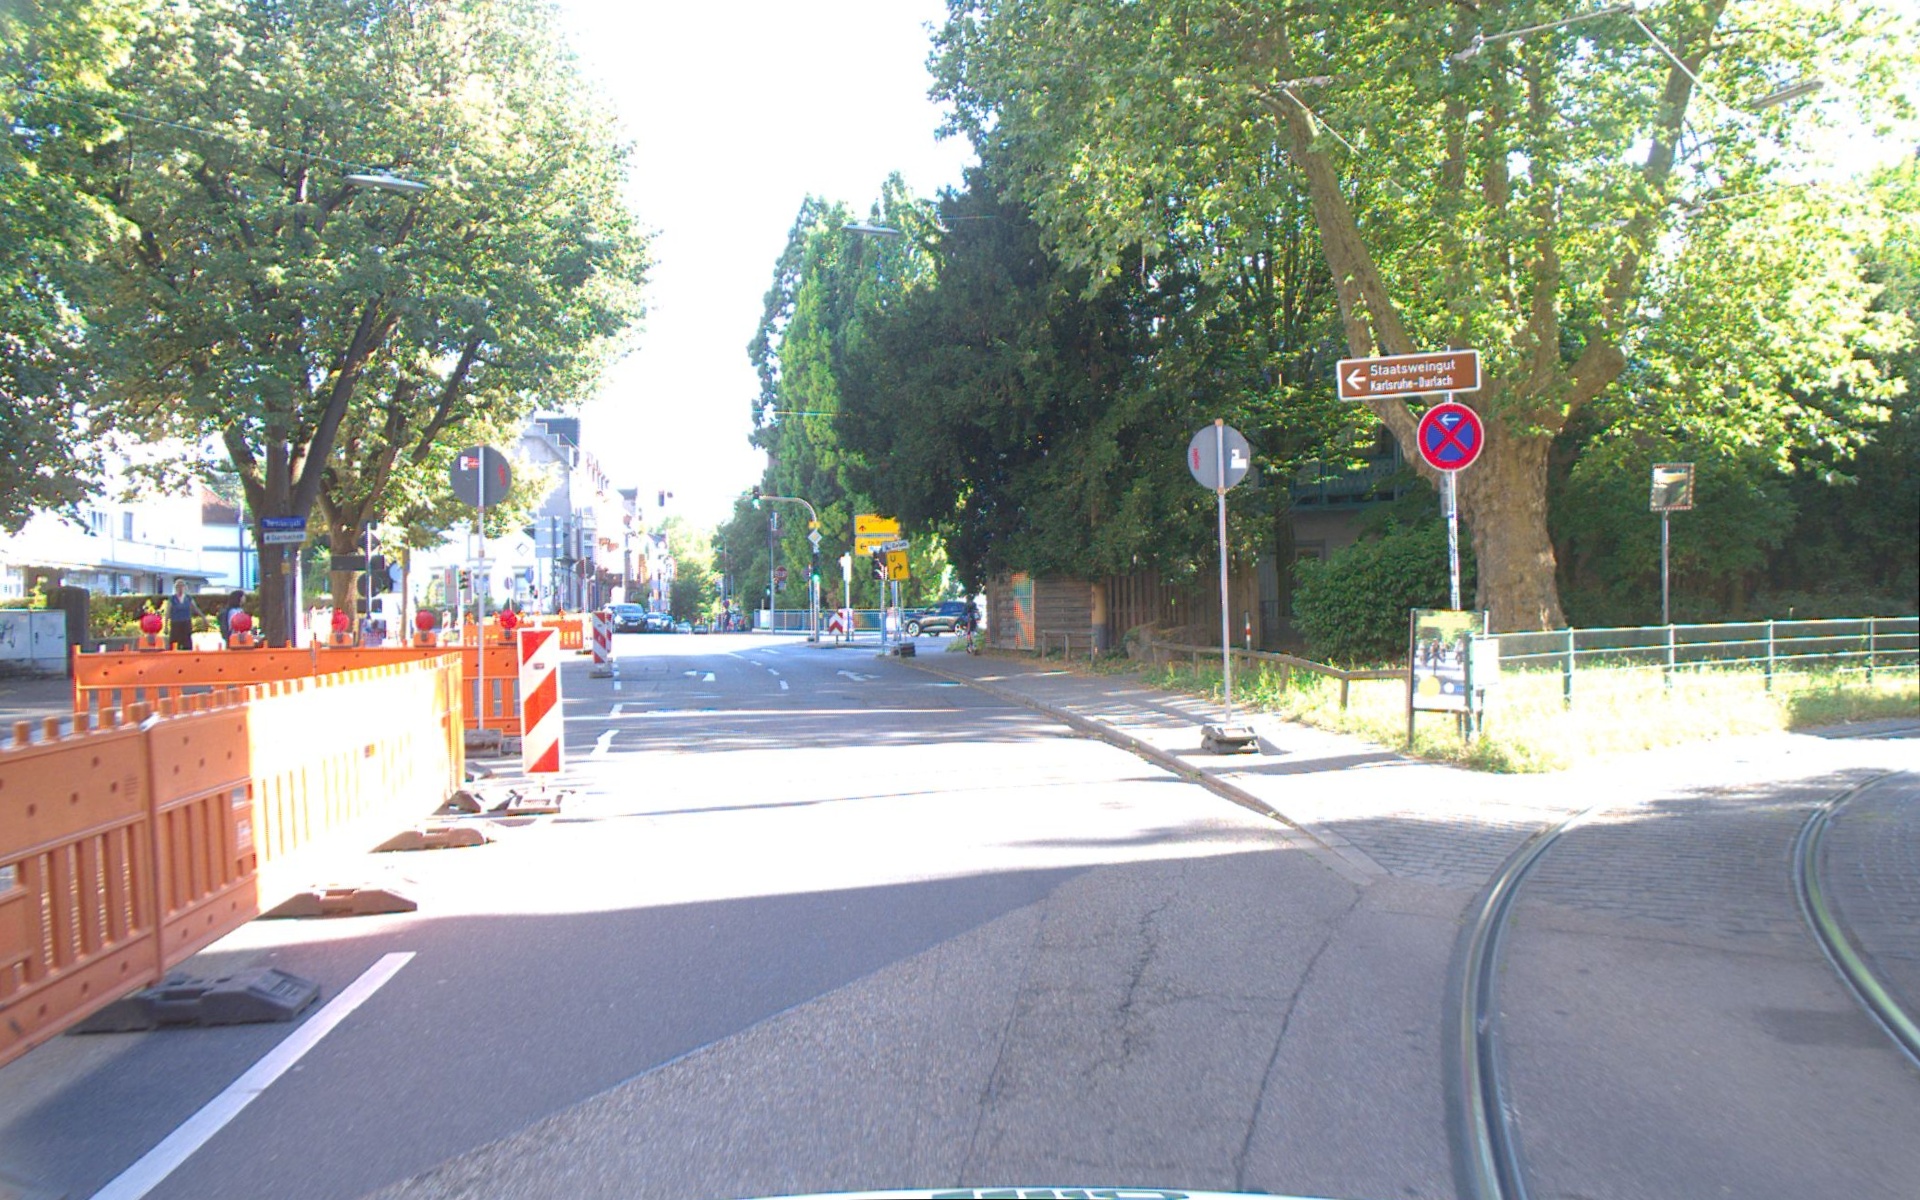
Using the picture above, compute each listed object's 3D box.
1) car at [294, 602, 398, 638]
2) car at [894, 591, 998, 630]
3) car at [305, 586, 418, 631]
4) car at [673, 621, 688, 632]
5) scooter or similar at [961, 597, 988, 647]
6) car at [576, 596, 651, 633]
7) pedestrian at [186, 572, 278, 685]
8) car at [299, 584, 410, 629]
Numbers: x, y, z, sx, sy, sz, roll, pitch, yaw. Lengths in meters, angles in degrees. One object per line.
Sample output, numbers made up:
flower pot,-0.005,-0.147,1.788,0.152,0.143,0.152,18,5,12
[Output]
car,-25.982,0.846,70.147,3.925,1.505,1.992,0,0,-16
car,-0.661,0.503,78.054,4.567,1.699,1.993,0,-3,34
car,-27.314,0.392,75.646,4.587,1.999,2.110,1,0,-13
car,-40.504,3.806,239.408,1.956,1.517,4.463,-1,0,-7
scooter or similar,0.356,0.543,41.409,0.430,1.223,1.256,-3,0,-8
car,-19.005,0.770,90.689,4.179,1.847,1.987,1,3,44
pedestrian,-11.897,0.451,27.069,1.022,1.812,1.191,0,0,-3
car,-26.627,0.287,72.905,4.233,1.884,1.996,1,0,-9
